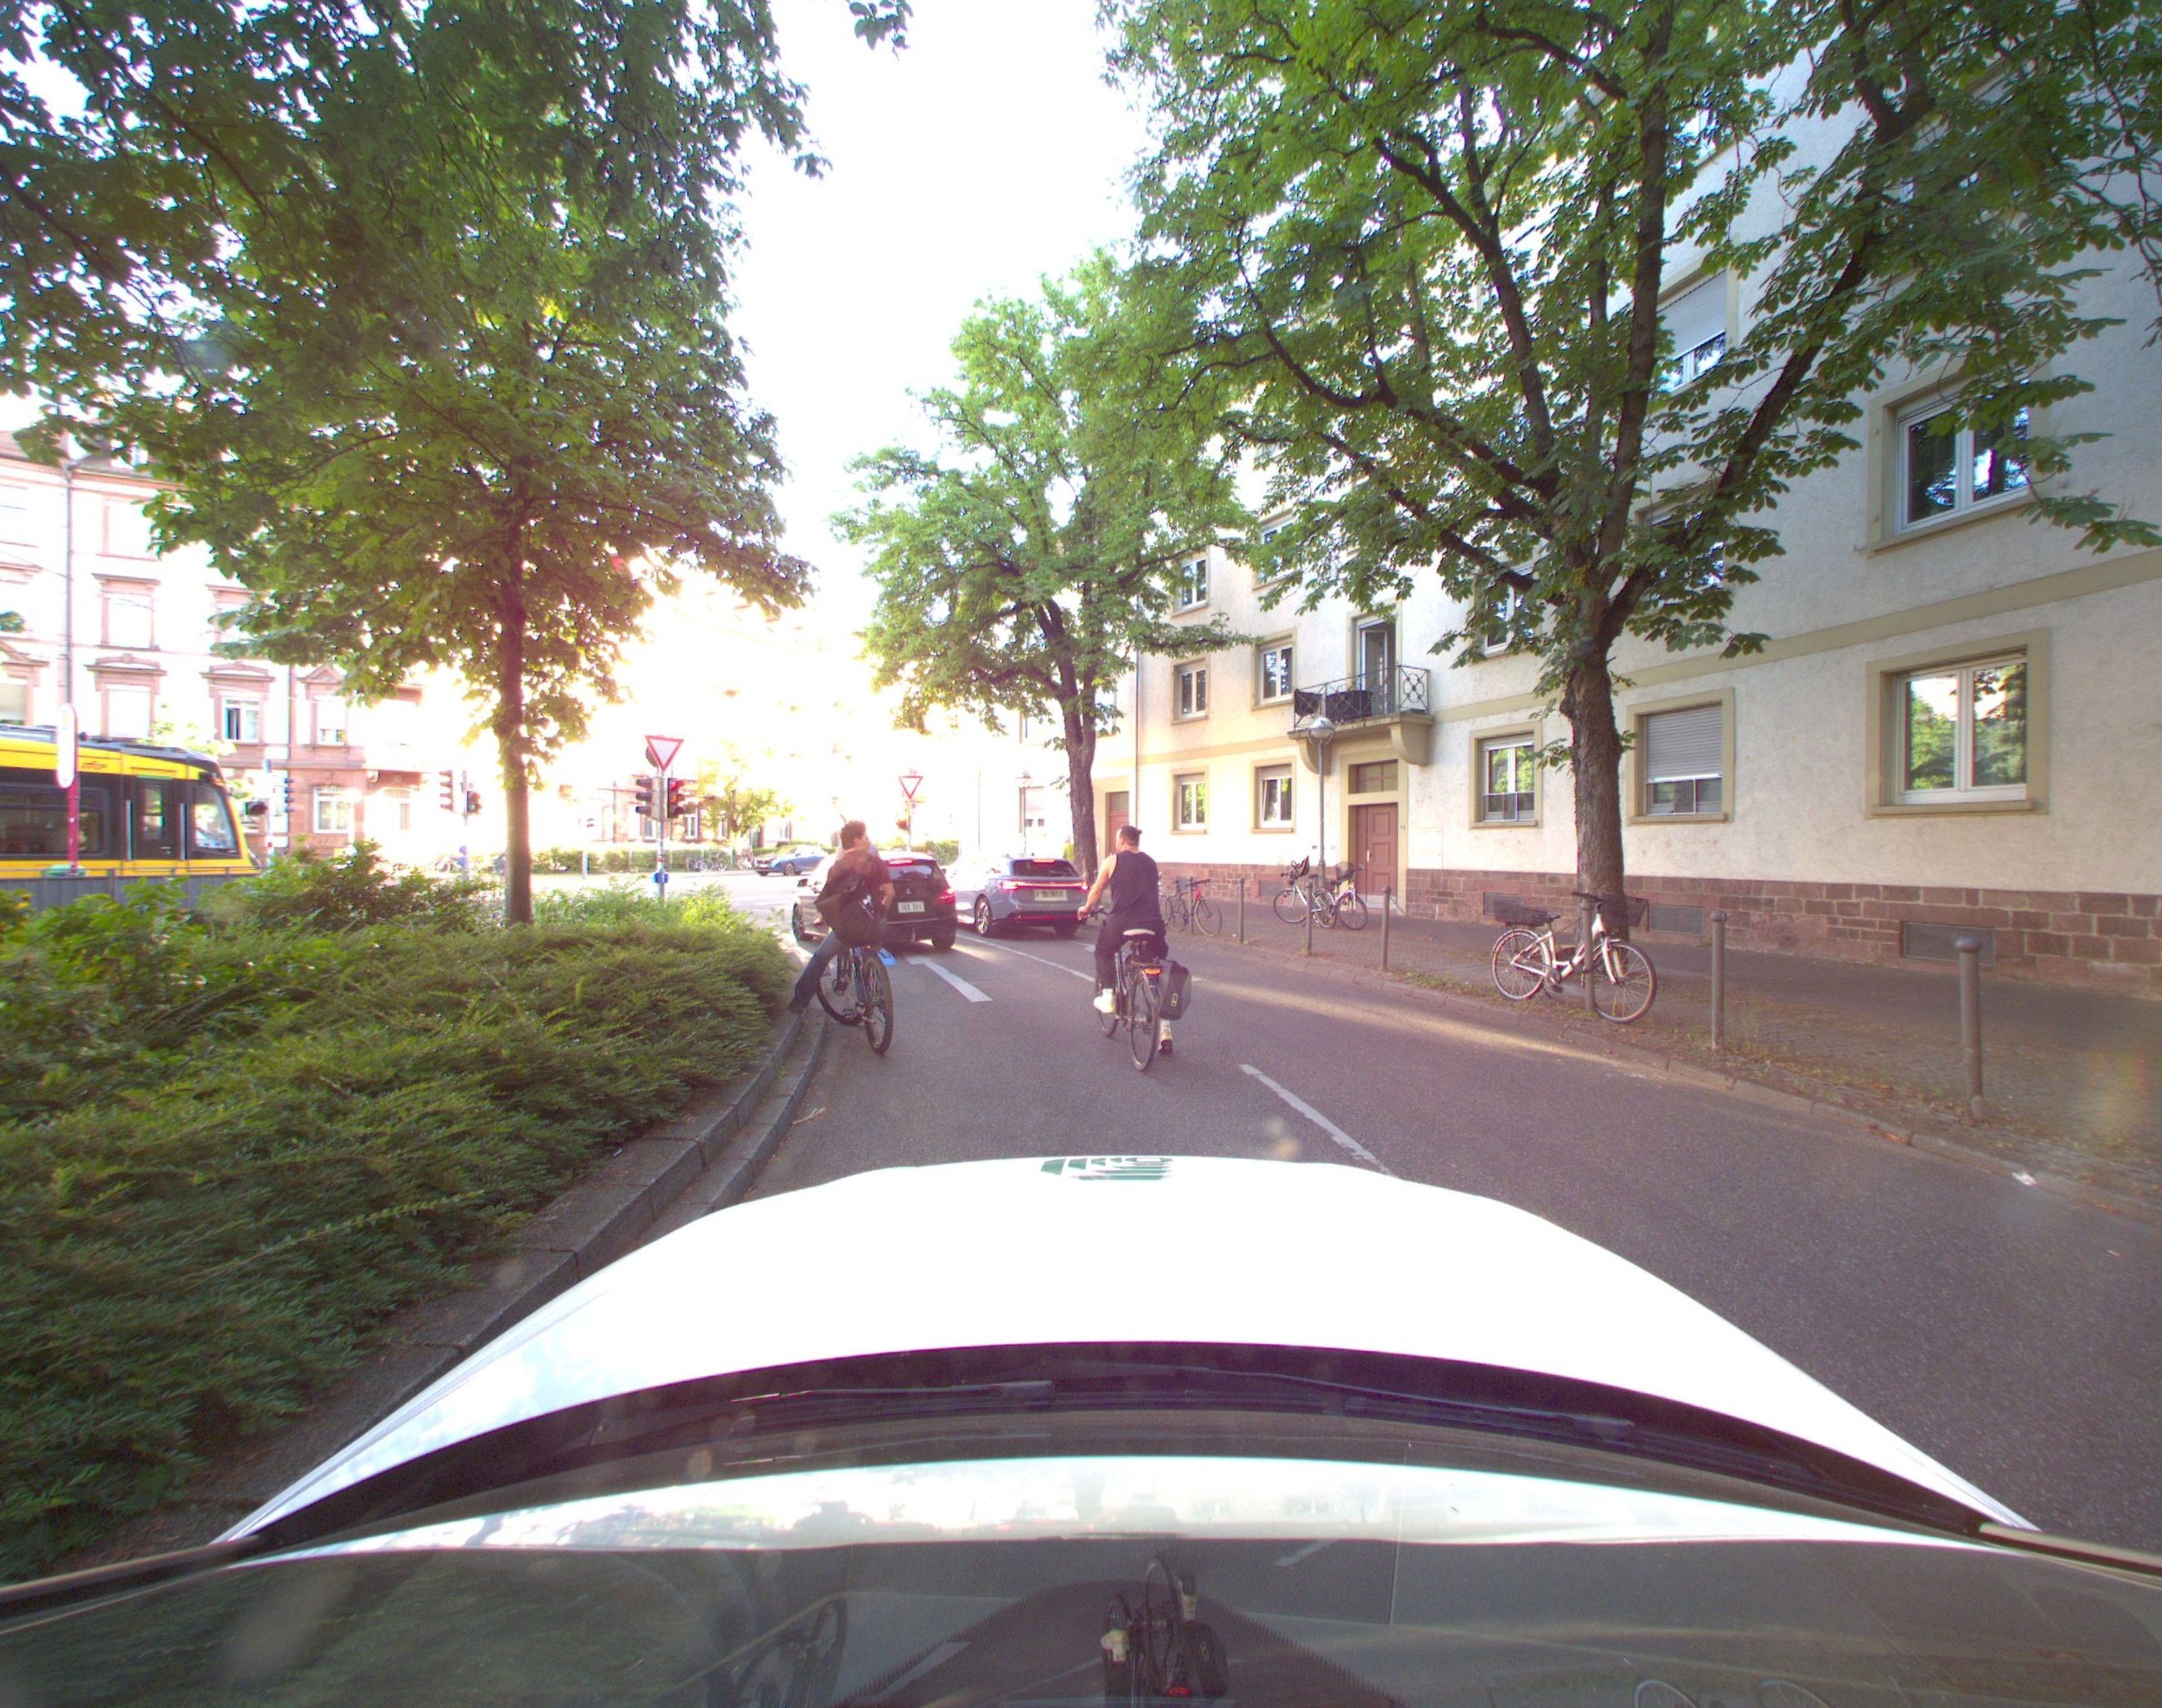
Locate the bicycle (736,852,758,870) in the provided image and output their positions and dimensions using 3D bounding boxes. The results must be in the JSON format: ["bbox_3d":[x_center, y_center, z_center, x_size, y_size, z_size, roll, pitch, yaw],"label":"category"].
[{"bbox_3d":[-19.764,0.386,48.147,0.438,1.038,1.240,1,1,24],"label":"bicycle"}]

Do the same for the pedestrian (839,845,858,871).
[{"bbox_3d":[-15.370,0.247,53.888,0.703,1.664,0.904,4,2,36],"label":"pedestrian"}]

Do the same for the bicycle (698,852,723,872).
[{"bbox_3d":[-20.796,0.443,45.738,0.438,1.107,1.241,1,1,25],"label":"bicycle"}]

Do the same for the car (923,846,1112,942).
[{"bbox_3d":[-1.415,0.682,15.957,1.982,1.585,4.433,2,-1,-29],"label":"car"}]

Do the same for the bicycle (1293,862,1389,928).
[{"bbox_3d":[4.716,0.711,14.919,0.669,1.107,1.955,1,0,-17],"label":"bicycle"}]

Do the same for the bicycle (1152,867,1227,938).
[{"bbox_3d":[1.903,0.821,14.501,0.528,1.107,1.728,-3,2,-21],"label":"bicycle"}]

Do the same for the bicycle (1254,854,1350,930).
[{"bbox_3d":[4.005,0.649,14.920,0.719,1.277,1.954,-1,1,-18],"label":"bicycle"}]

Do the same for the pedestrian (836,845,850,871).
[{"bbox_3d":[-16.035,0.261,54.900,0.655,1.715,0.640,0,0,32],"label":"pedestrian"}]

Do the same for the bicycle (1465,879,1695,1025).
[{"bbox_3d":[4.539,0.827,7.608,0.514,1.095,1.962,-2,1,-18],"label":"bicycle"}]

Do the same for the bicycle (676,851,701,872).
[{"bbox_3d":[-21.423,0.412,44.448,0.438,1.107,1.241,1,1,25],"label":"bicycle"}]

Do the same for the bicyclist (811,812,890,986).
[{"bbox_3d":[-2.713,0.494,9.537,0.797,1.913,0.938,1,0,-21],"label":"bicyclist"}]

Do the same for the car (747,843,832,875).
[{"bbox_3d":[-15.558,0.248,43.709,1.926,1.650,4.432,0,0,19],"label":"car"}]

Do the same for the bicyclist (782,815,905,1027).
[{"bbox_3d":[-1.955,0.497,6.659,0.711,1.573,0.947,1,0,-33],"label":"bicyclist"}]

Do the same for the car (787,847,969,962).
[{"bbox_3d":[-3.464,0.698,13.369,1.802,1.542,3.821,-2,1,-32],"label":"car"}]

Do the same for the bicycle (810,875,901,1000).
[{"bbox_3d":[-2.655,0.873,9.394,0.813,1.184,2.211,0,0,-21],"label":"bicycle"}]

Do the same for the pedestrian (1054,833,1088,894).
[{"bbox_3d":[-0.290,0.264,23.817,0.646,1.727,0.881,-3,2,-25],"label":"pedestrian"}]

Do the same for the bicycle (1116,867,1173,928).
[{"bbox_3d":[1.233,0.822,16.102,0.482,1.063,1.625,-3,2,-20],"label":"bicycle"}]

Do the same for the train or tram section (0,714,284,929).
[{"bbox_3d":[-20.227,-0.555,12.160,2.769,3.619,11.857,1,0,19],"label":"train or tram section"}]

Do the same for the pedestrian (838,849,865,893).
[{"bbox_3d":[-8.861,0.642,31.383,0.904,1.635,0.721,2,1,-19],"label":"pedestrian"}]

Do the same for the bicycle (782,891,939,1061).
[{"bbox_3d":[-1.918,0.923,6.858,0.722,1.107,1.947,1,0,-33],"label":"bicycle"}]

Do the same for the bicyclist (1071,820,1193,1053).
[{"bbox_3d":[0.372,0.584,6.379,0.687,1.656,0.985,-1,0,-13],"label":"bicyclist"}]

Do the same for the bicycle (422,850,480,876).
[{"bbox_3d":[-28.125,0.392,36.388,1.975,1.107,0.438,2,-1,-38],"label":"bicycle"}]
